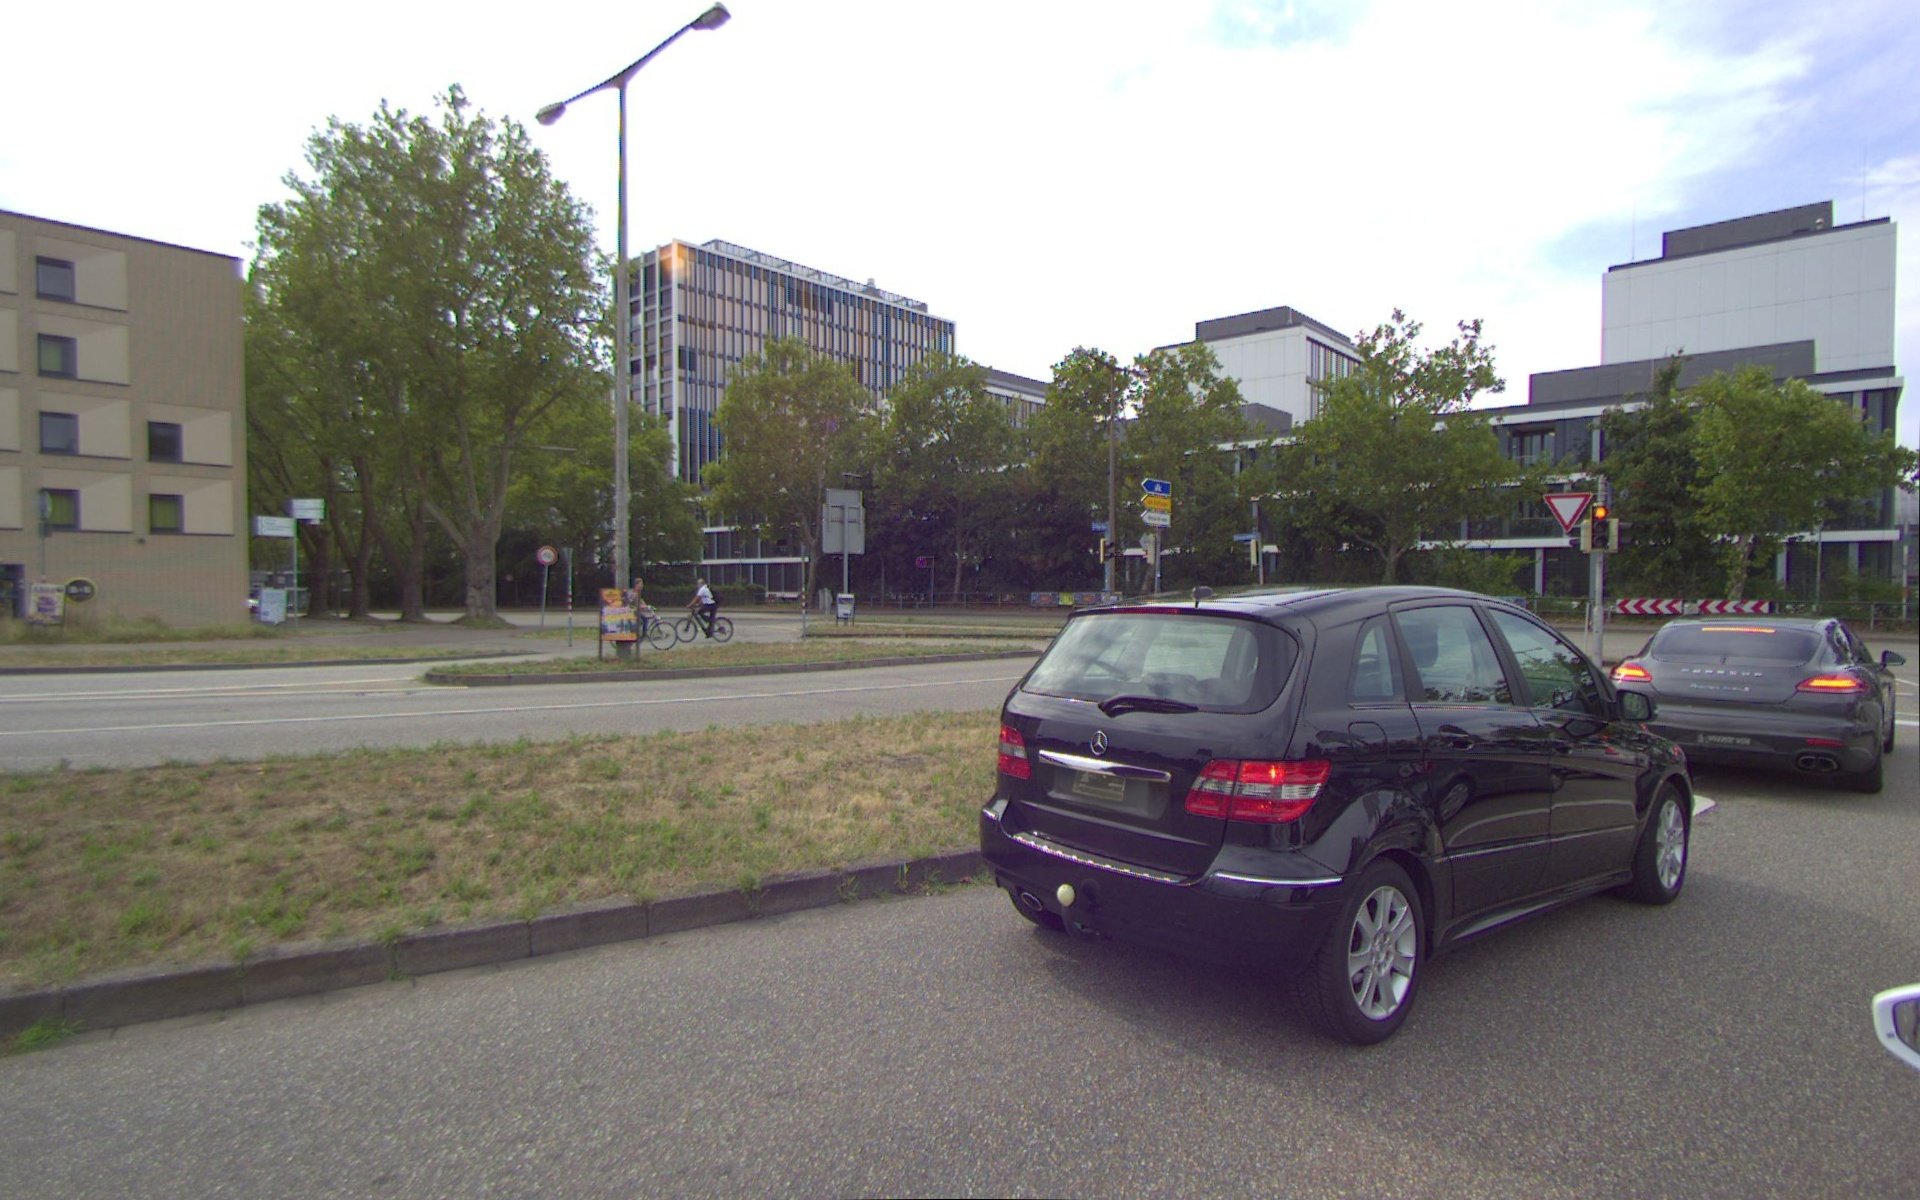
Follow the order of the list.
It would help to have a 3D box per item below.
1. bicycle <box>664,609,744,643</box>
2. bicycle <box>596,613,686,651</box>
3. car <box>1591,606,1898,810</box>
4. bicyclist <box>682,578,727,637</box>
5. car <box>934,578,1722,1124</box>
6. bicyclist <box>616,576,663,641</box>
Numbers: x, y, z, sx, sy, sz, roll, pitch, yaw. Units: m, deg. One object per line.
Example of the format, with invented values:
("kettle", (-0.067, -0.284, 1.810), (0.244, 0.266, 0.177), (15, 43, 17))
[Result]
("bicycle", (-7.703, 0.761, 30.257), (2.190, 0.965, 0.812), (1, 0, 7))
("bicycle", (-8.177, 0.816, 25.791), (2.076, 0.921, 0.742), (1, 0, 8))
("car", (7.726, 0.809, 9.684), (1.800, 1.433, 4.746), (2, 1, 44))
("bicyclist", (-7.687, 0.223, 30.253), (1.093, 1.719, 0.813), (1, 0, 8))
("car", (1.989, 0.712, 4.874), (4.000, 1.596, 1.743), (-1, 2, -38))
("bicyclist", (-8.226, 0.217, 25.802), (0.902, 1.636, 0.742), (1, 0, 8))
